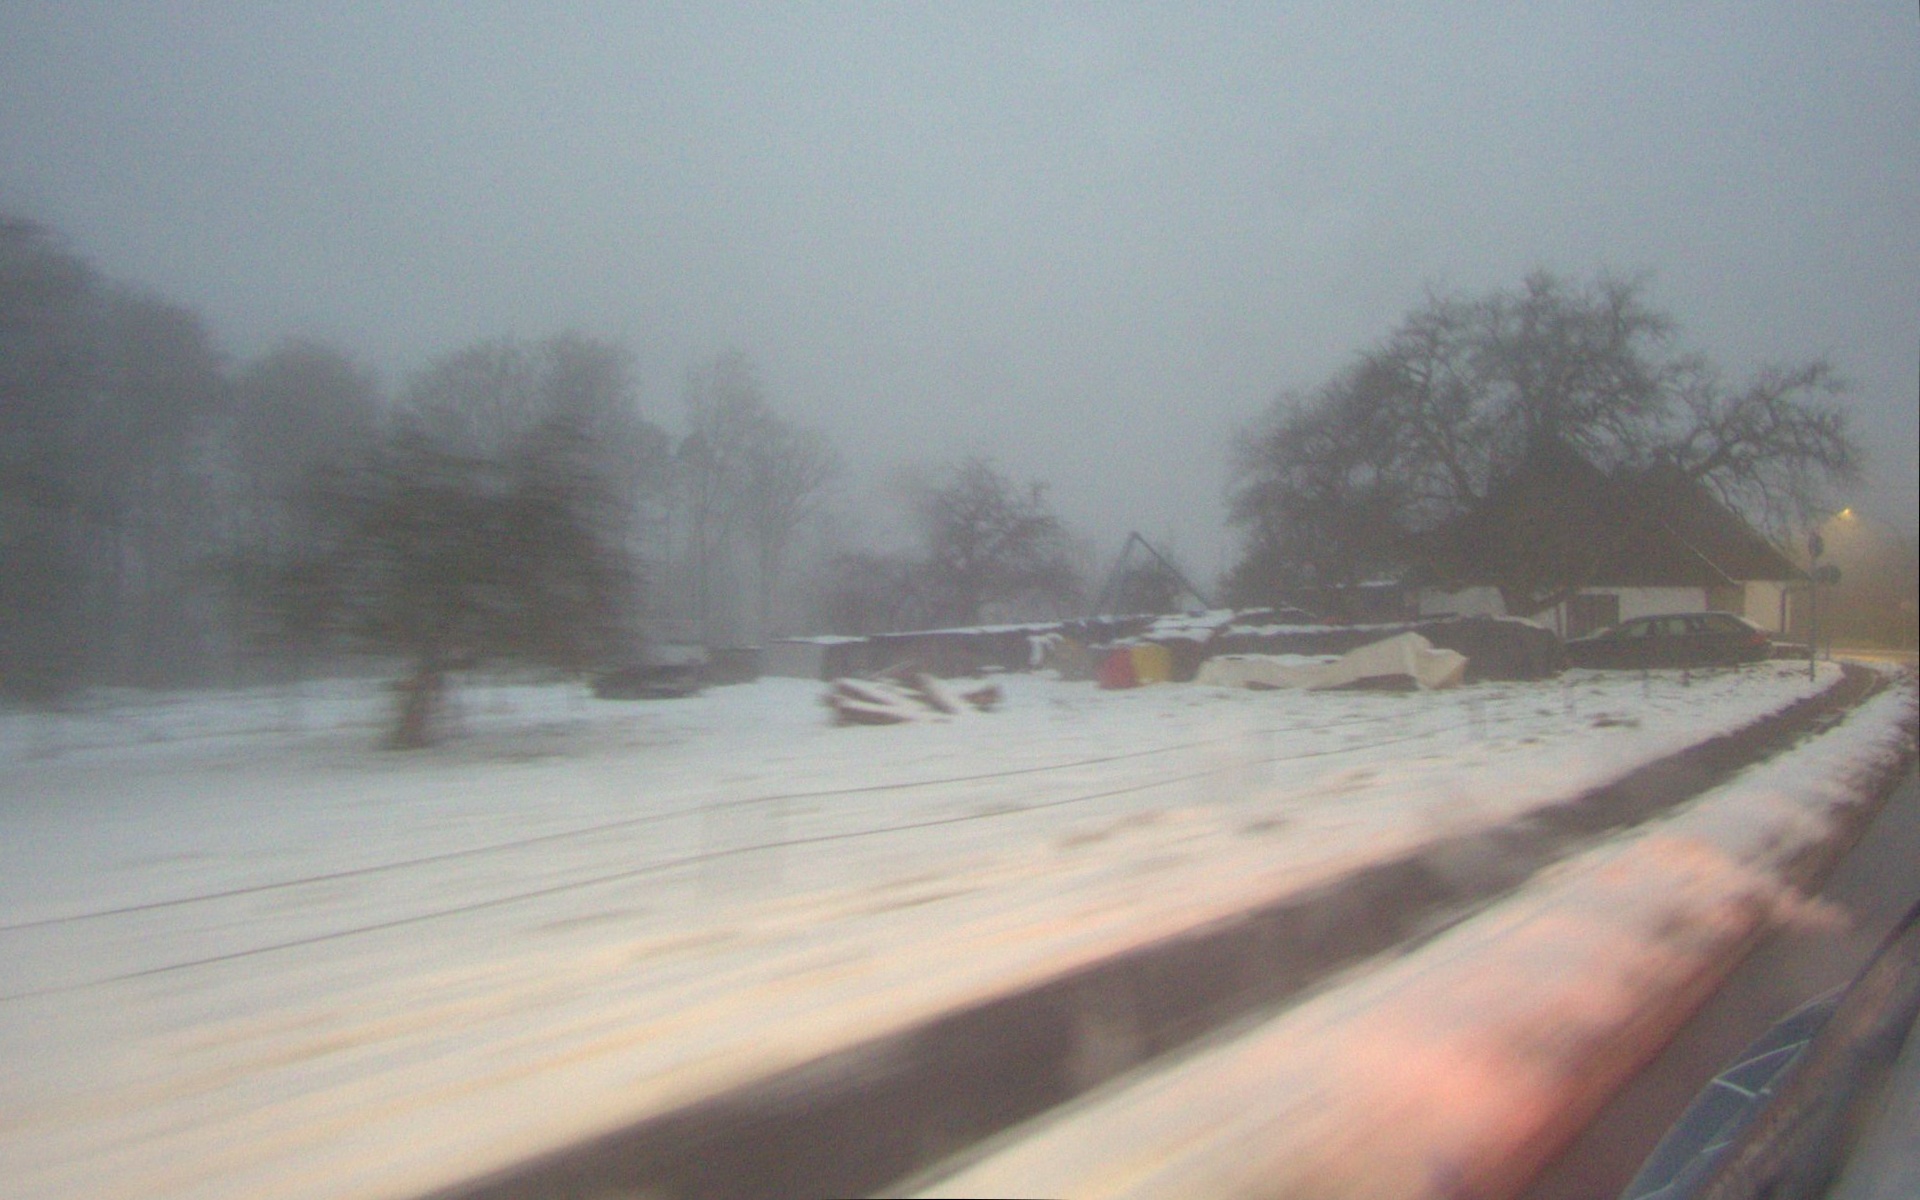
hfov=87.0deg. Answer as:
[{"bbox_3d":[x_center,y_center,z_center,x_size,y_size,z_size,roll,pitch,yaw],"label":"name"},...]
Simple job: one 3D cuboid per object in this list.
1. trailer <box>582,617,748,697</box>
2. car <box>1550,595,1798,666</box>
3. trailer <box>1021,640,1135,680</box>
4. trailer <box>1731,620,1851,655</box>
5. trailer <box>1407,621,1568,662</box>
[{"bbox_3d":[-8.069,1.499,27.486,4.736,1.968,2.190,-2,-3,42],"label":"trailer"},{"bbox_3d":[16.932,0.778,24.170,2.001,1.400,4.451,1,-5,-43],"label":"car"},{"bbox_3d":[3.561,1.751,30.168,1.838,0.957,3.614,2,0,36],"label":"trailer"},{"bbox_3d":[27.279,1.207,33.374,1.528,0.957,3.980,2,0,16],"label":"trailer"},{"bbox_3d":[15.611,1.211,30.008,3.862,1.106,2.214,-2,-2,39],"label":"trailer"}]
